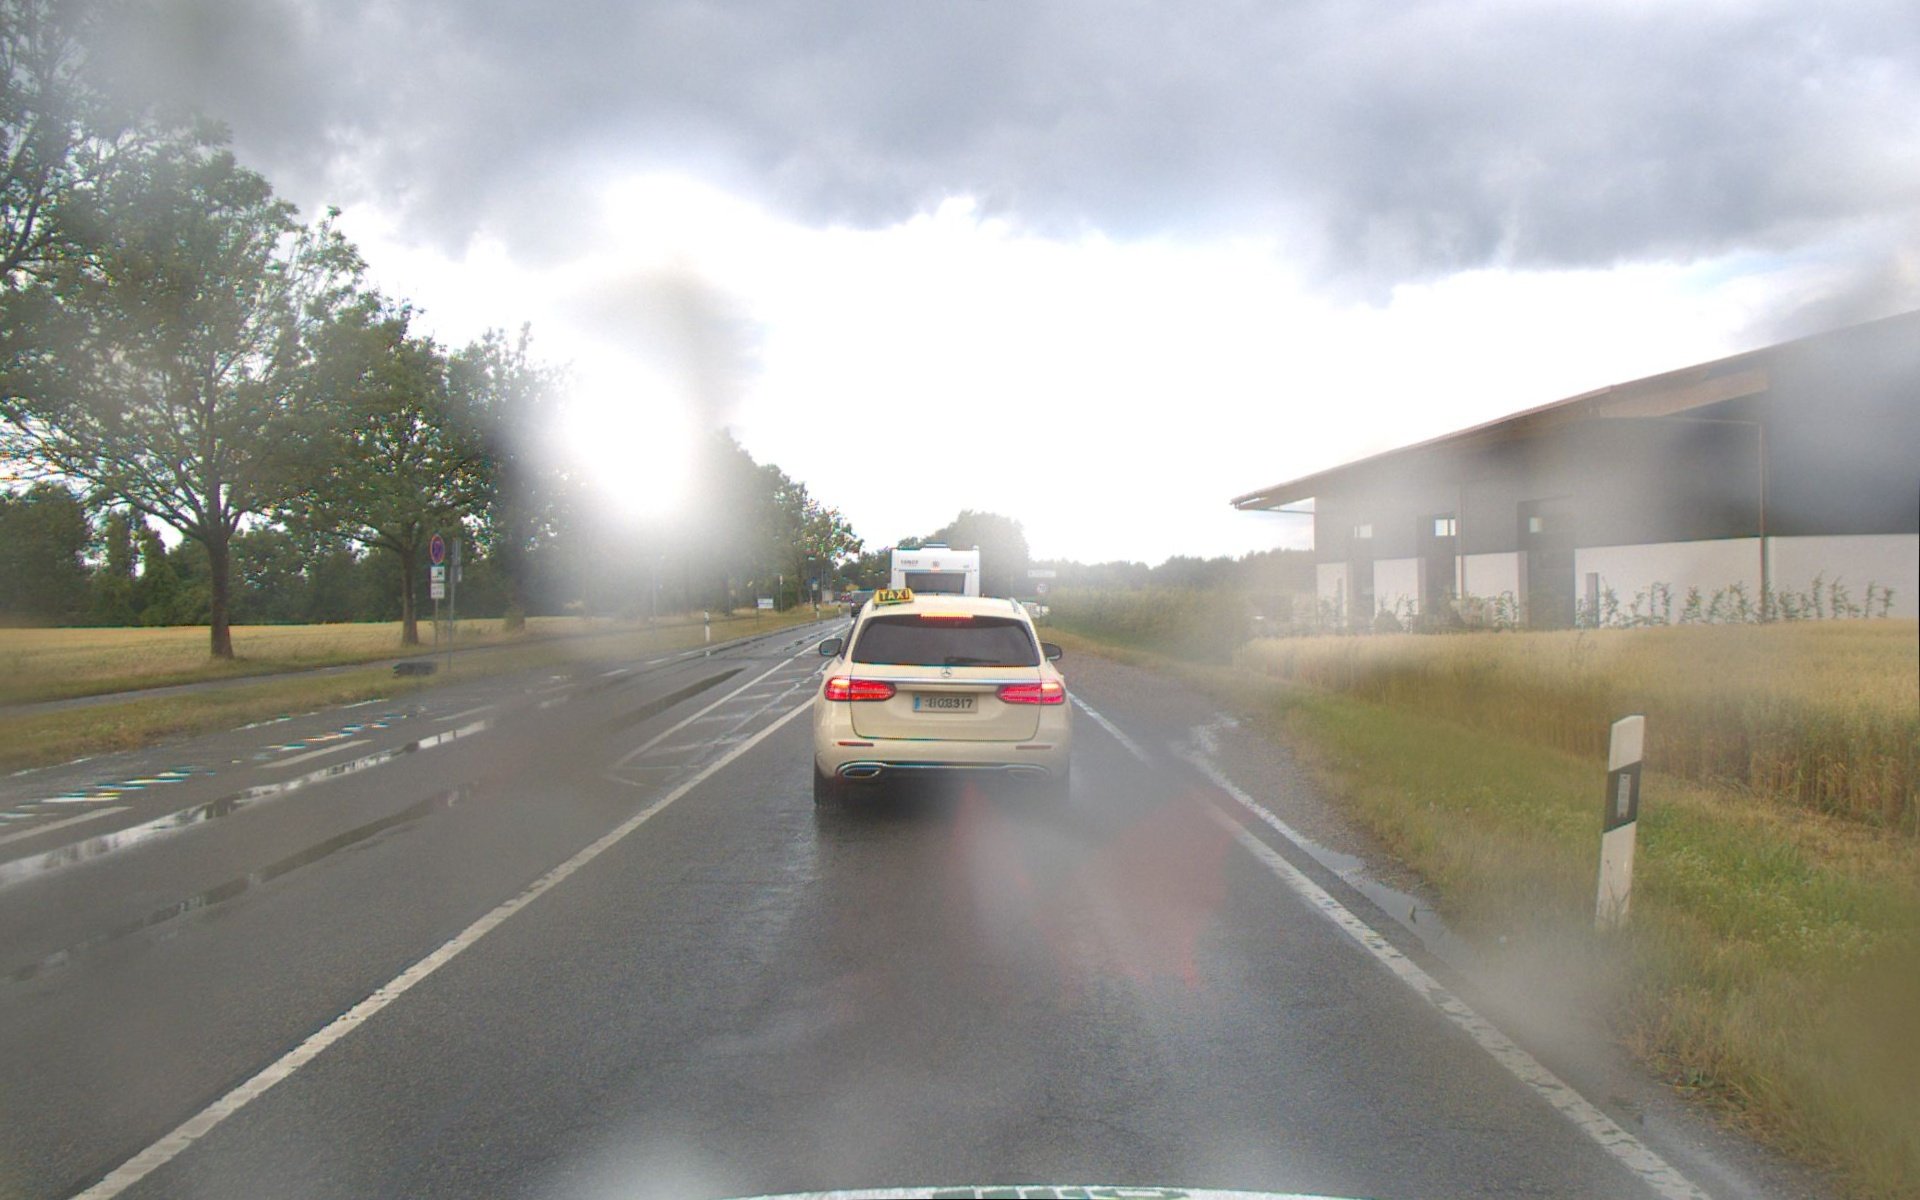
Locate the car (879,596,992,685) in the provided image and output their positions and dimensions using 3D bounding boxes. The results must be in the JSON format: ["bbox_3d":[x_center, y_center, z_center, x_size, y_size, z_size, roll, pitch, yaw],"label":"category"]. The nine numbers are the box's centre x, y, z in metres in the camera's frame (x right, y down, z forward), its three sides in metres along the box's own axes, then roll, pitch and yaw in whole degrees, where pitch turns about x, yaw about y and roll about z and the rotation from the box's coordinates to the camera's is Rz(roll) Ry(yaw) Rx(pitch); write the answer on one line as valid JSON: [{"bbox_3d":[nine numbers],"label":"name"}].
[{"bbox_3d":[-0.460,0.660,29.094,1.856,1.454,3.926,0,0,-2],"label":"car"}]

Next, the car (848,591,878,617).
[{"bbox_3d":[-6.659,0.254,114.064,1.877,1.660,4.356,-2,0,-1],"label":"car"}]

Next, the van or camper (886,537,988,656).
[{"bbox_3d":[-0.569,-0.089,43.993,2.446,2.880,5.933,-2,0,0],"label":"van or camper"}]

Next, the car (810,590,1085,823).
[{"bbox_3d":[-0.097,0.669,12.604,1.760,1.490,4.030,0,0,-1],"label":"car"}]
